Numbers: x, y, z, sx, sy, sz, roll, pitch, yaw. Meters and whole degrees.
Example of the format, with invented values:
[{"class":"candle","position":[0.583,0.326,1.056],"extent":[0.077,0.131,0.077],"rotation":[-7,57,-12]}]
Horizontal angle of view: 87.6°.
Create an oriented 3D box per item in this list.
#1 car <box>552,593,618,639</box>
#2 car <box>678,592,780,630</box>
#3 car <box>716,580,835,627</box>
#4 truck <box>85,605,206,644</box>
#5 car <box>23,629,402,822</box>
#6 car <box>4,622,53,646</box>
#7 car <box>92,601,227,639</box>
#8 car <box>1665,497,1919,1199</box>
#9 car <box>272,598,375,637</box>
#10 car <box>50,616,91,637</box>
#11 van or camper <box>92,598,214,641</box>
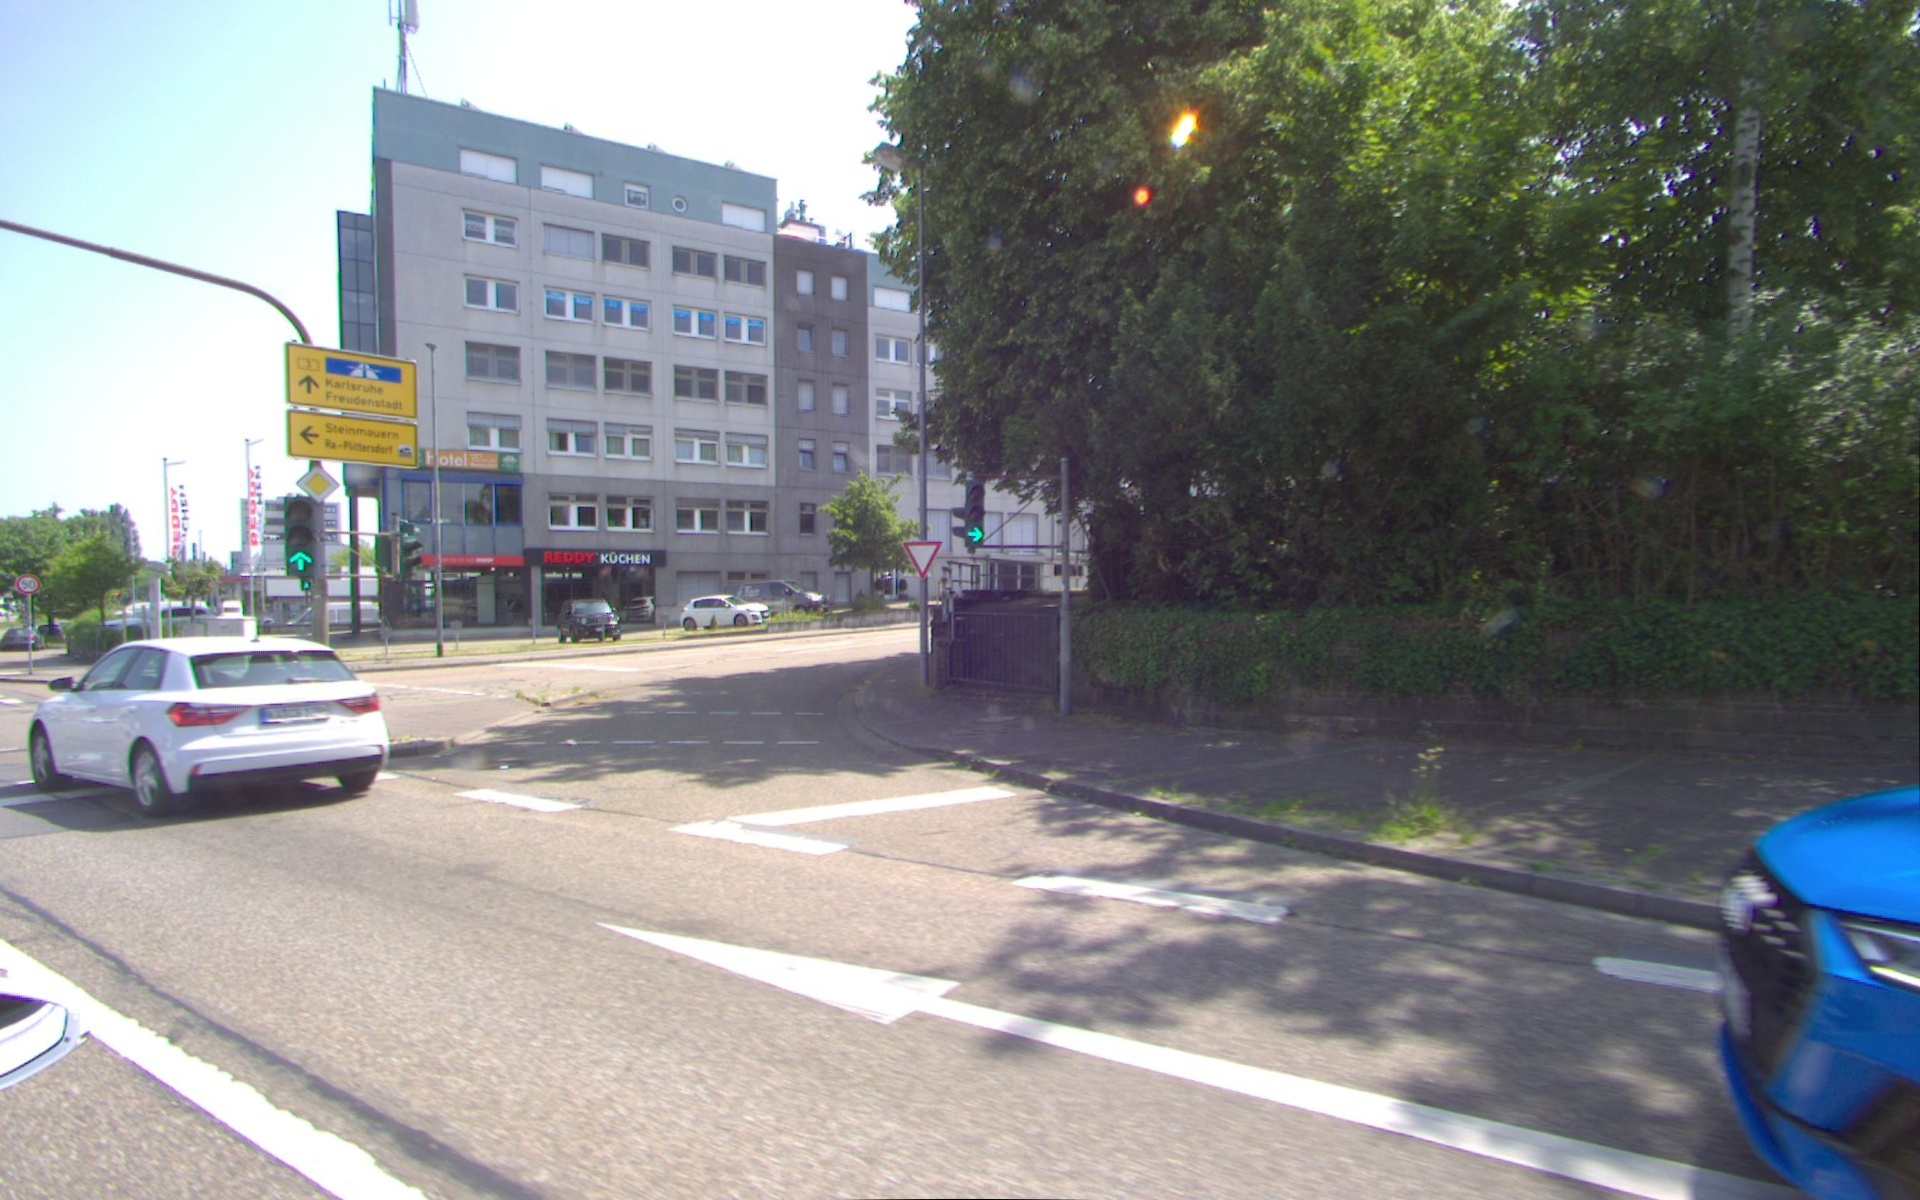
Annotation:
[{"class":"car","position":[-14.729,0.629,39.258],"extent":[1.523,1.697,4.303],"rotation":[0,-1,-33]},{"class":"car","position":[-10.140,0.490,44.073],"extent":[4.148,1.552,1.543],"rotation":[-1,-2,15]},{"class":"car","position":[-8.511,0.171,46.371],"extent":[5.096,2.063,1.890],"rotation":[0,-2,15]},{"class":"truck","position":[-56.257,1.637,69.364],"extent":[6.183,2.369,2.352],"rotation":[-2,2,-35]},{"class":"car","position":[-6.945,0.987,9.218],"extent":[3.741,1.417,1.663],"rotation":[-1,-1,34]},{"class":"car","position":[-58.126,2.130,62.516],"extent":[1.782,1.424,4.288],"rotation":[1,-1,-37]},{"class":"car","position":[-38.693,1.023,48.547],"extent":[1.970,1.735,4.721],"rotation":[-1,-2,29]},{"class":"car","position":[3.763,0.657,1.468],"extent":[4.332,1.617,1.910],"rotation":[0,-2,32]},{"class":"car","position":[-42.988,1.213,67.768],"extent":[5.826,2.560,2.107],"rotation":[1,-2,-33]},{"class":"car","position":[-75.878,2.195,85.470],"extent":[1.942,1.551,5.124],"rotation":[-4,2,-35]},{"class":"van or camper","position":[-58.754,1.336,73.127],"extent":[6.733,2.937,2.258],"rotation":[-1,1,-37]}]
